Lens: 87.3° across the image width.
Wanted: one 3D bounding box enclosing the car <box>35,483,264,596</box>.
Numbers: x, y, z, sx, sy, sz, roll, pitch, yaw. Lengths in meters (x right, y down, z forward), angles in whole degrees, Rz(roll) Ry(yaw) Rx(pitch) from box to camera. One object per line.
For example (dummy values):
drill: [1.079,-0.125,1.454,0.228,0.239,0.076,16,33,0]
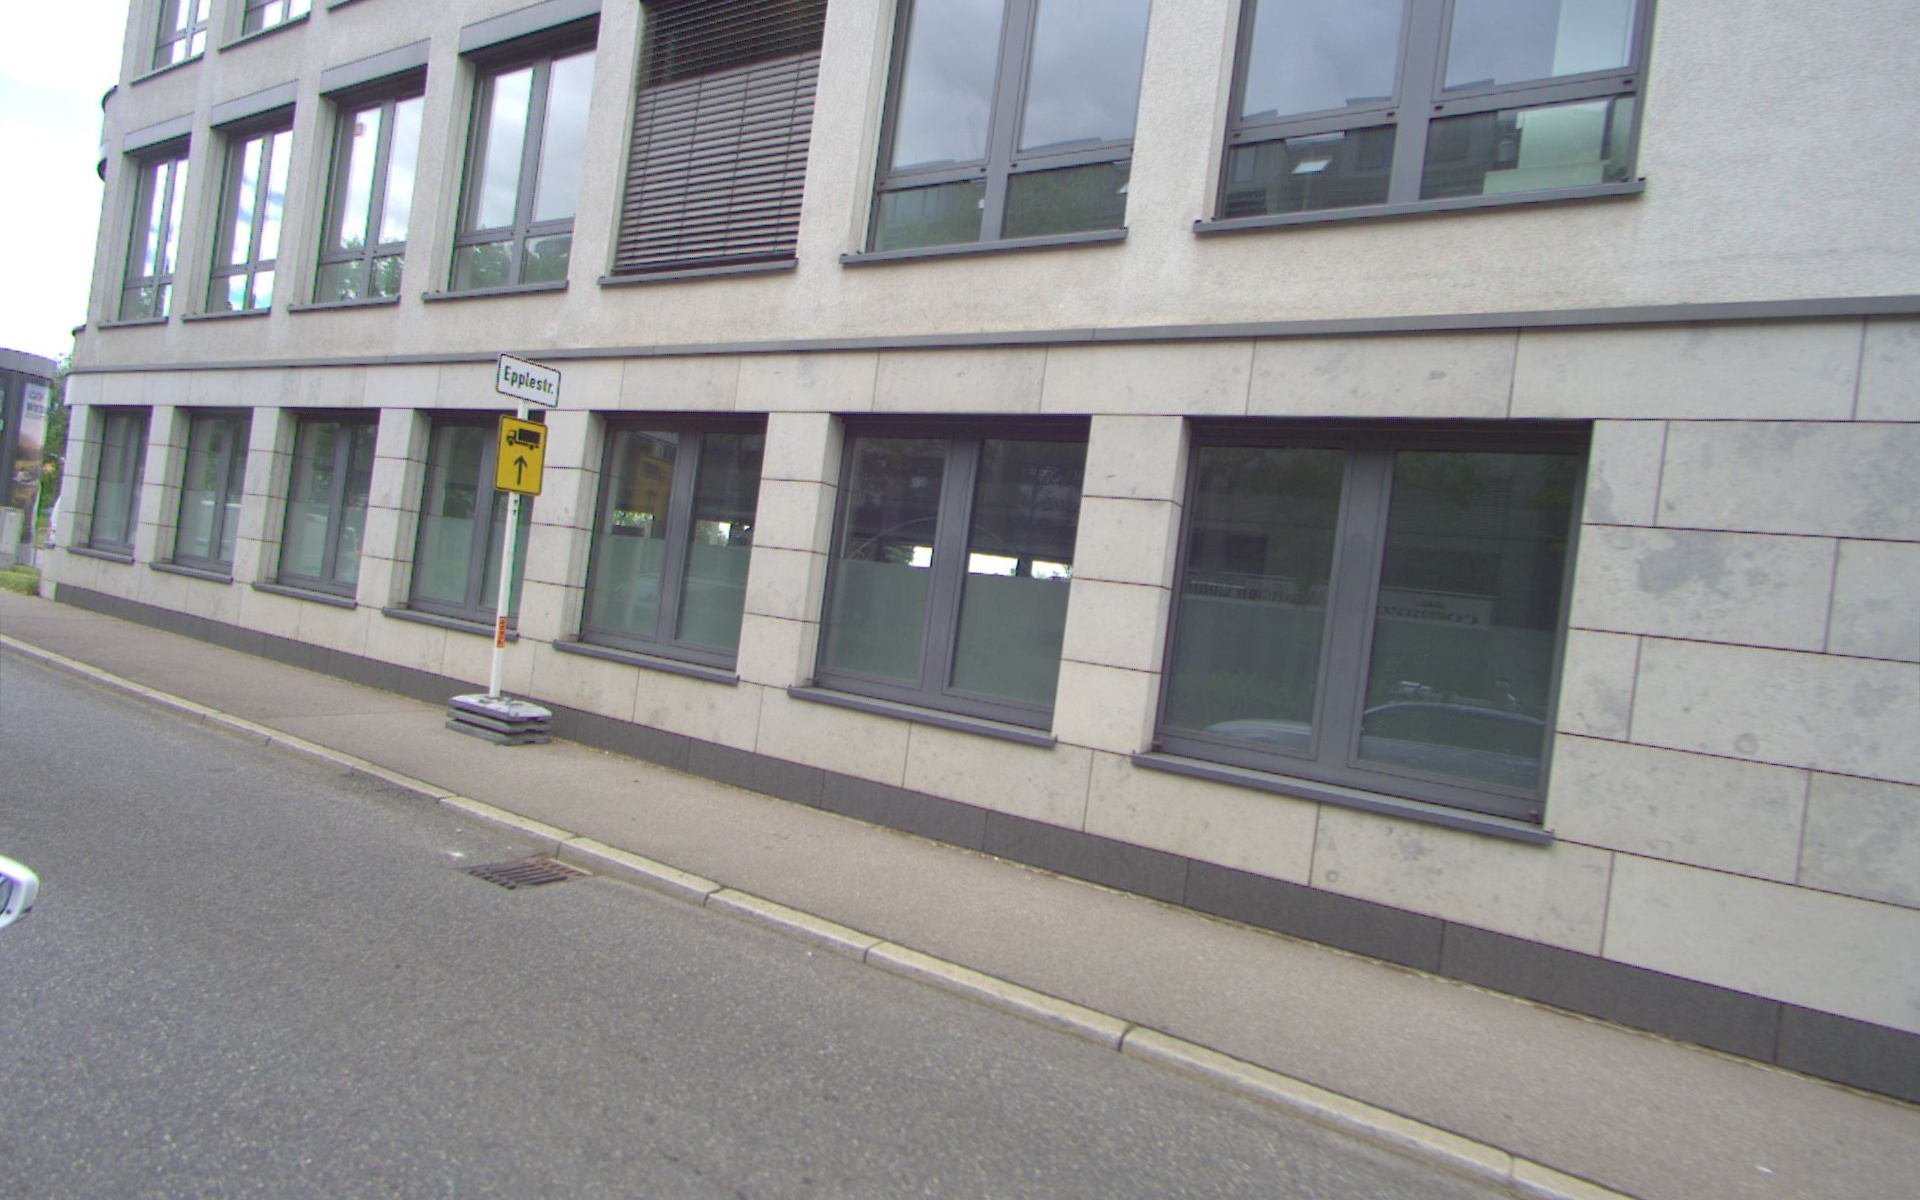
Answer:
car: [-24.837,-1.833,30.876,5.726,2.602,2.308,7,-1,15]
